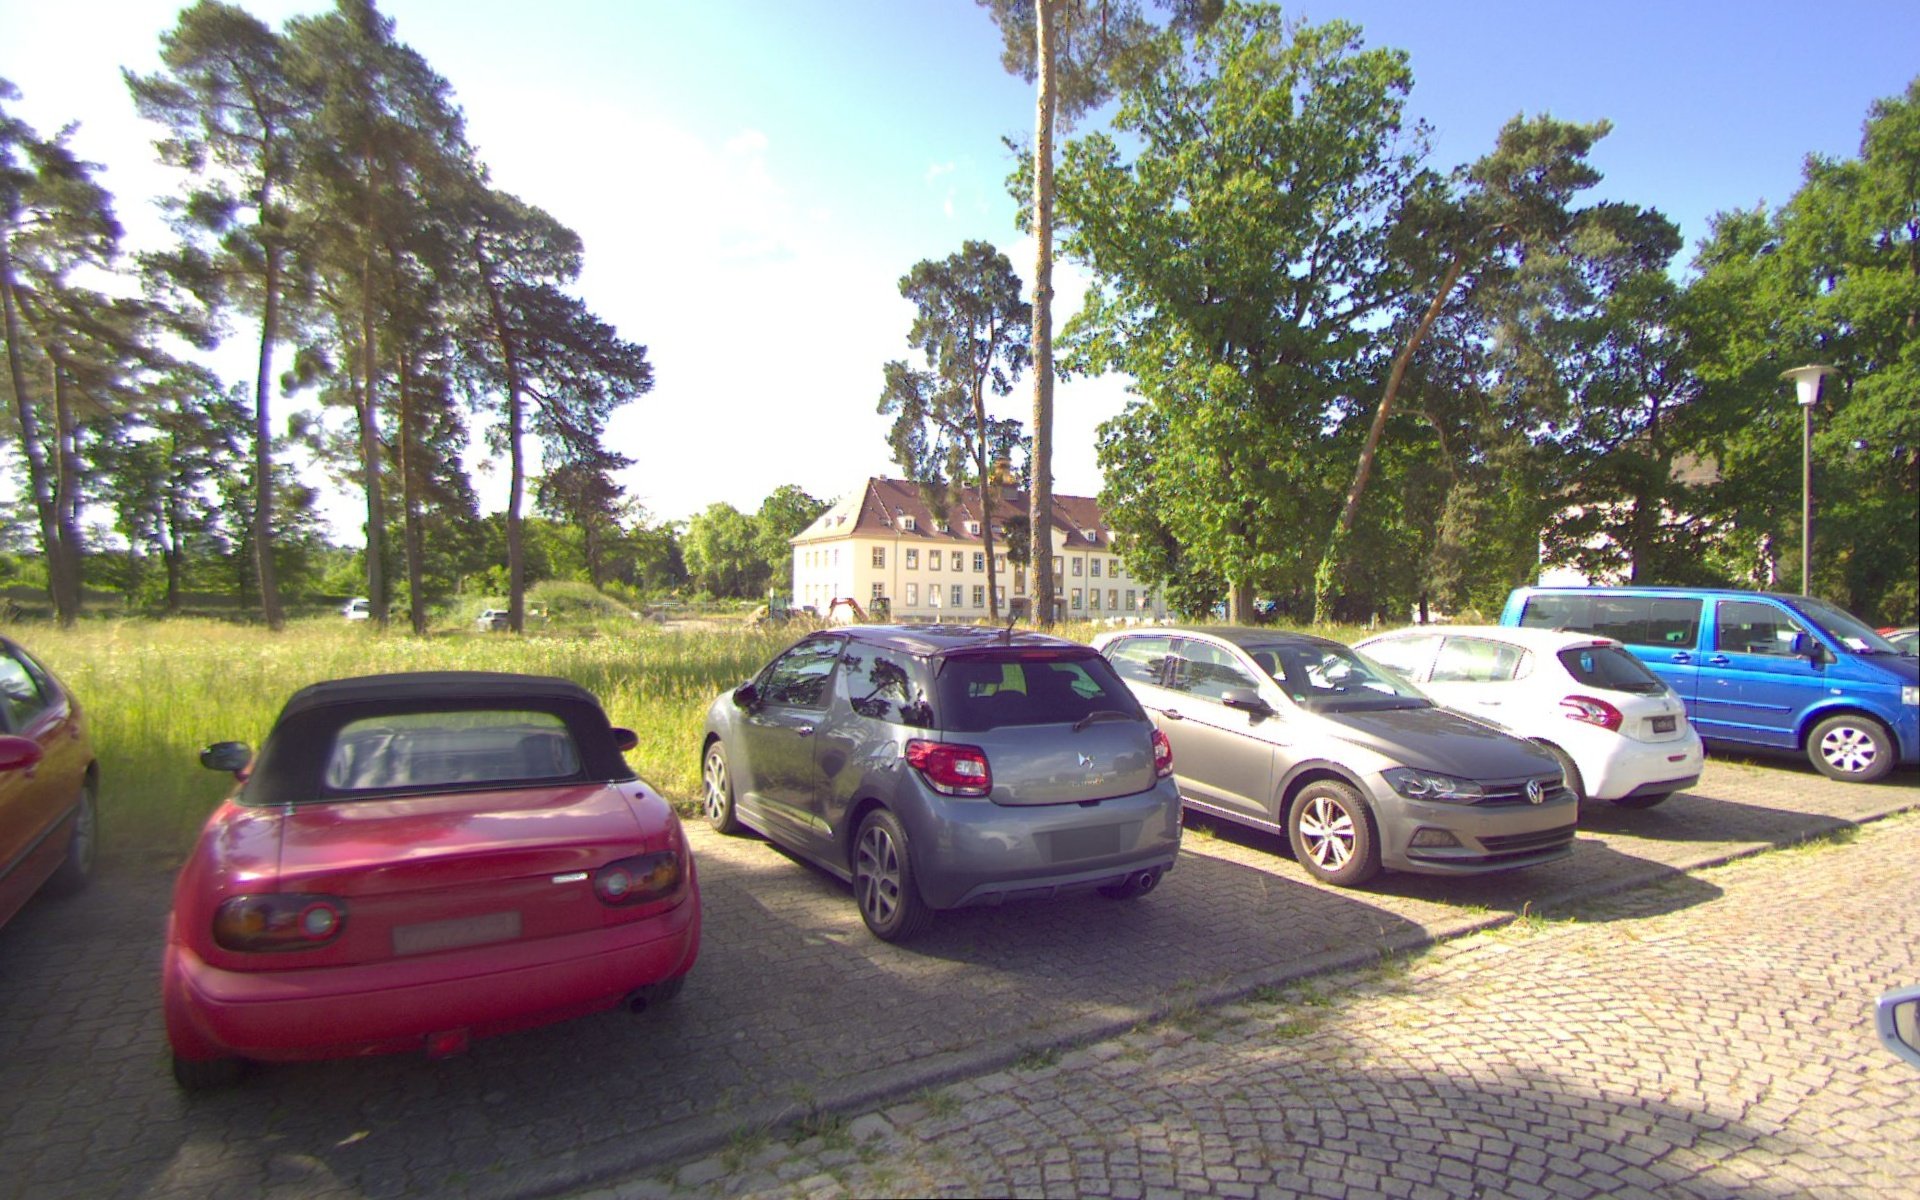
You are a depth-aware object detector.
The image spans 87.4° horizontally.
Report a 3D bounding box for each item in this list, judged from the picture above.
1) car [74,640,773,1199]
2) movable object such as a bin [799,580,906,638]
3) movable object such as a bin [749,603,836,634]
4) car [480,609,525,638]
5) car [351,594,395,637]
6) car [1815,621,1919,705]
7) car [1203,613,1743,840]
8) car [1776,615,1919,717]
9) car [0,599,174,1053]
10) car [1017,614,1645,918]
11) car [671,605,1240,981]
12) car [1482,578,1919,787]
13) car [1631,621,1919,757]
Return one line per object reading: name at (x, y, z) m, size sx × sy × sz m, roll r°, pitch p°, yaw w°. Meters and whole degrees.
car at (-2.296, 0.908, 4.440) m, size 1.740 × 1.250 × 3.612 m, roll 2°, pitch 0°, yaw -31°
movable object such as a bin at (-7.306, 0.676, 69.244) m, size 3.865 × 3.780 × 6.772 m, roll 0°, pitch -1°, yaw 34°
movable object such as a bin at (-12.039, 1.338, 72.345) m, size 5.564 × 2.153 × 2.530 m, roll 0°, pitch -1°, yaw 14°
car at (-26.522, 1.368, 58.151) m, size 1.890 × 1.626 × 4.208 m, roll 1°, pitch -1°, yaw -31°
car at (-31.829, 0.853, 54.455) m, size 1.934 × 2.193 × 4.822 m, roll 1°, pitch -1°, yaw -31°
car at (18.547, 1.209, 18.497) m, size 1.847 × 1.468 × 3.899 m, roll 0°, pitch 1°, yaw -33°
car at (4.450, 0.932, 9.402) m, size 1.803 × 1.495 × 4.173 m, roll 1°, pitch 1°, yaw -32°
car at (16.431, 1.112, 16.781) m, size 1.953 × 1.589 × 3.929 m, roll 0°, pitch 1°, yaw -33°
car at (-4.637, 0.753, 3.892) m, size 1.917 × 1.440 × 4.839 m, roll 1°, pitch 0°, yaw -31°
car at (2.336, 0.891, 7.396) m, size 1.901 × 1.444 × 4.056 m, roll 1°, pitch 1°, yaw -31°
car at (-0.394, 0.842, 6.392) m, size 1.801 × 1.471 × 4.056 m, roll 2°, pitch 0°, yaw -31°
car at (9.052, 0.777, 11.914) m, size 1.983 × 1.994 × 4.691 m, roll 1°, pitch 1°, yaw -32°
car at (11.299, 1.096, 13.168) m, size 1.666 × 1.459 × 3.791 m, roll 1°, pitch 1°, yaw -35°
